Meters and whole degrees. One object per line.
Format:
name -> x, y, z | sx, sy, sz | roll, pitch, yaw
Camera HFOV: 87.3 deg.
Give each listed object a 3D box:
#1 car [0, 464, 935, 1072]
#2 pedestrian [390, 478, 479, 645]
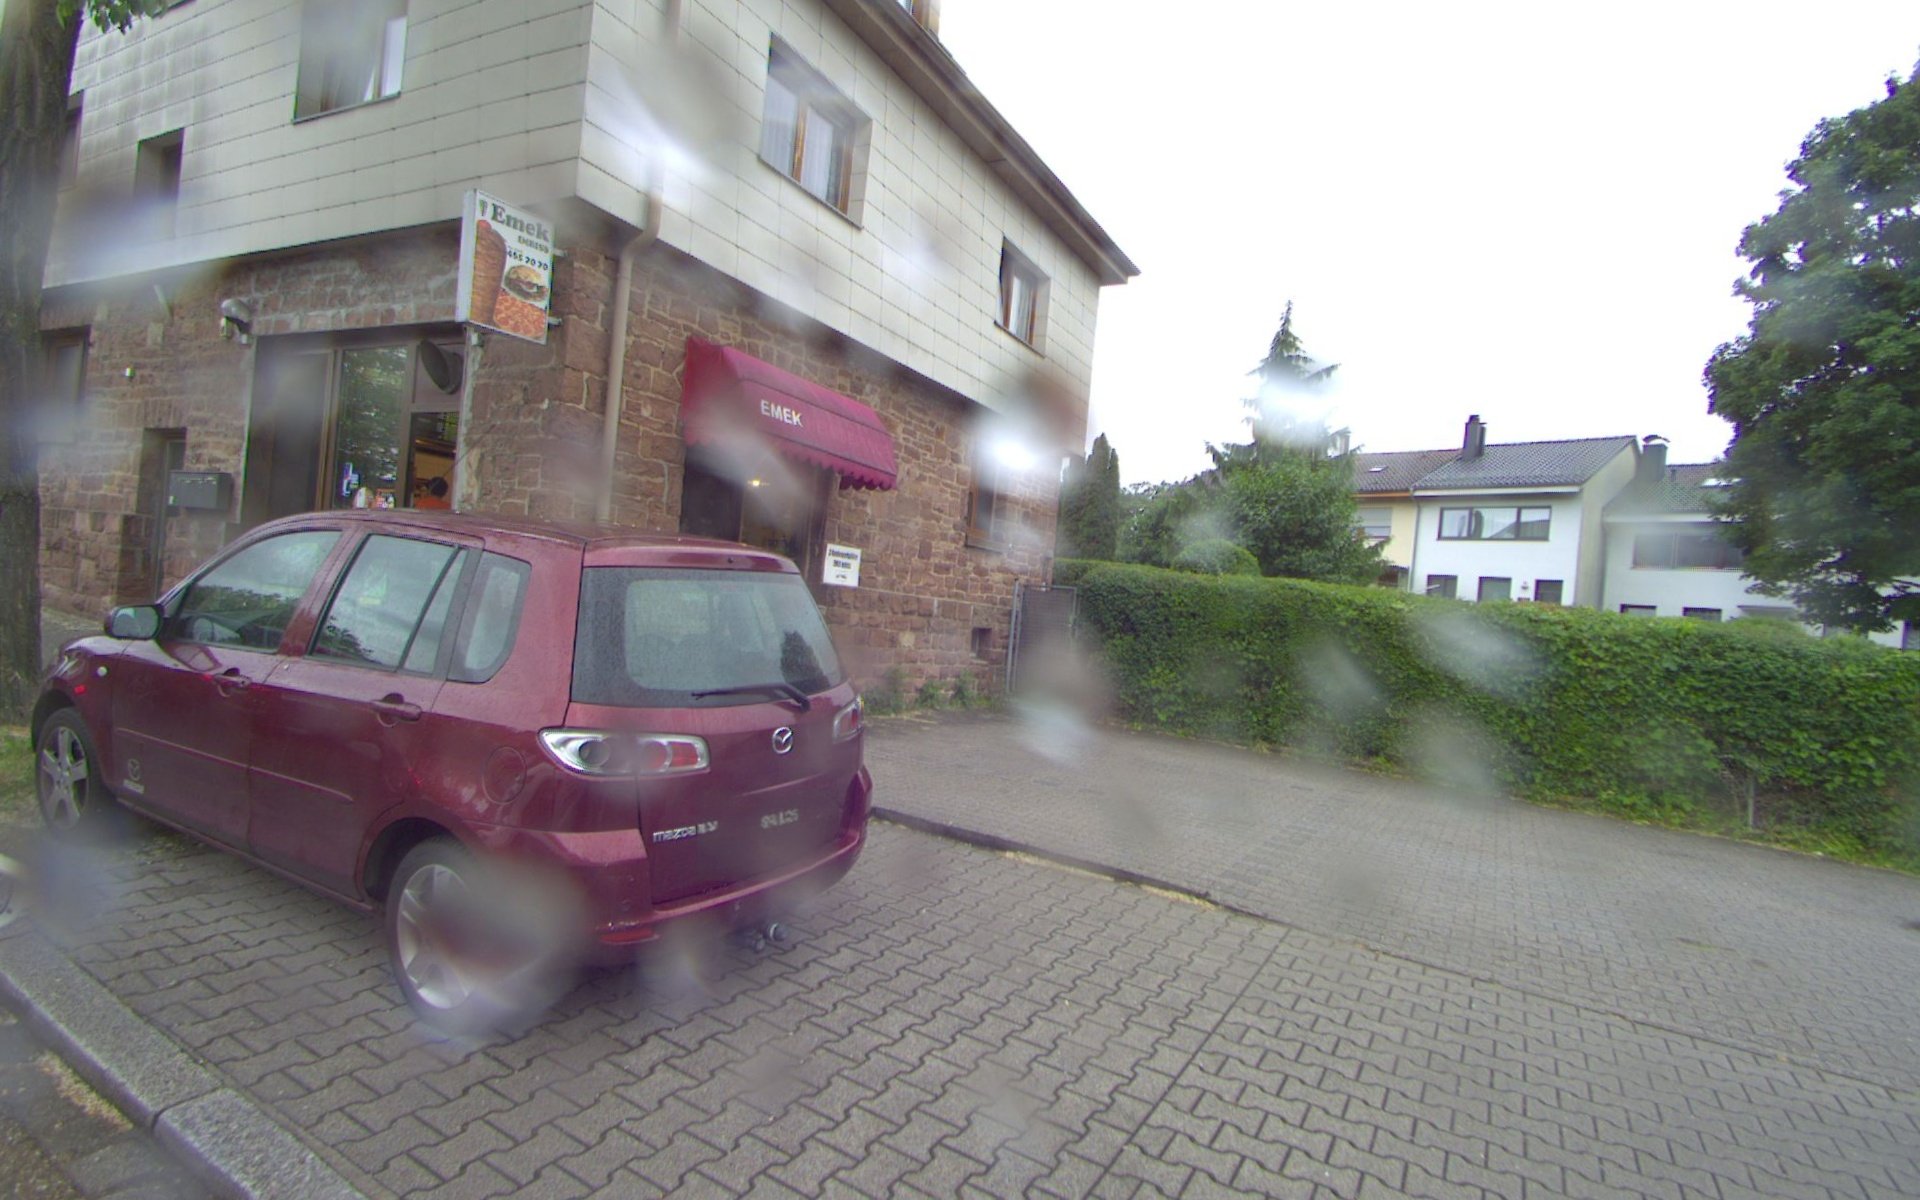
car -> -2.163, 0.373, 4.133 | 3.692, 1.521, 1.614 | 5, -3, 29
pedestrian -> -5.528, -0.398, 10.595 | 0.447, 1.679, 0.493 | 7, -1, 31
